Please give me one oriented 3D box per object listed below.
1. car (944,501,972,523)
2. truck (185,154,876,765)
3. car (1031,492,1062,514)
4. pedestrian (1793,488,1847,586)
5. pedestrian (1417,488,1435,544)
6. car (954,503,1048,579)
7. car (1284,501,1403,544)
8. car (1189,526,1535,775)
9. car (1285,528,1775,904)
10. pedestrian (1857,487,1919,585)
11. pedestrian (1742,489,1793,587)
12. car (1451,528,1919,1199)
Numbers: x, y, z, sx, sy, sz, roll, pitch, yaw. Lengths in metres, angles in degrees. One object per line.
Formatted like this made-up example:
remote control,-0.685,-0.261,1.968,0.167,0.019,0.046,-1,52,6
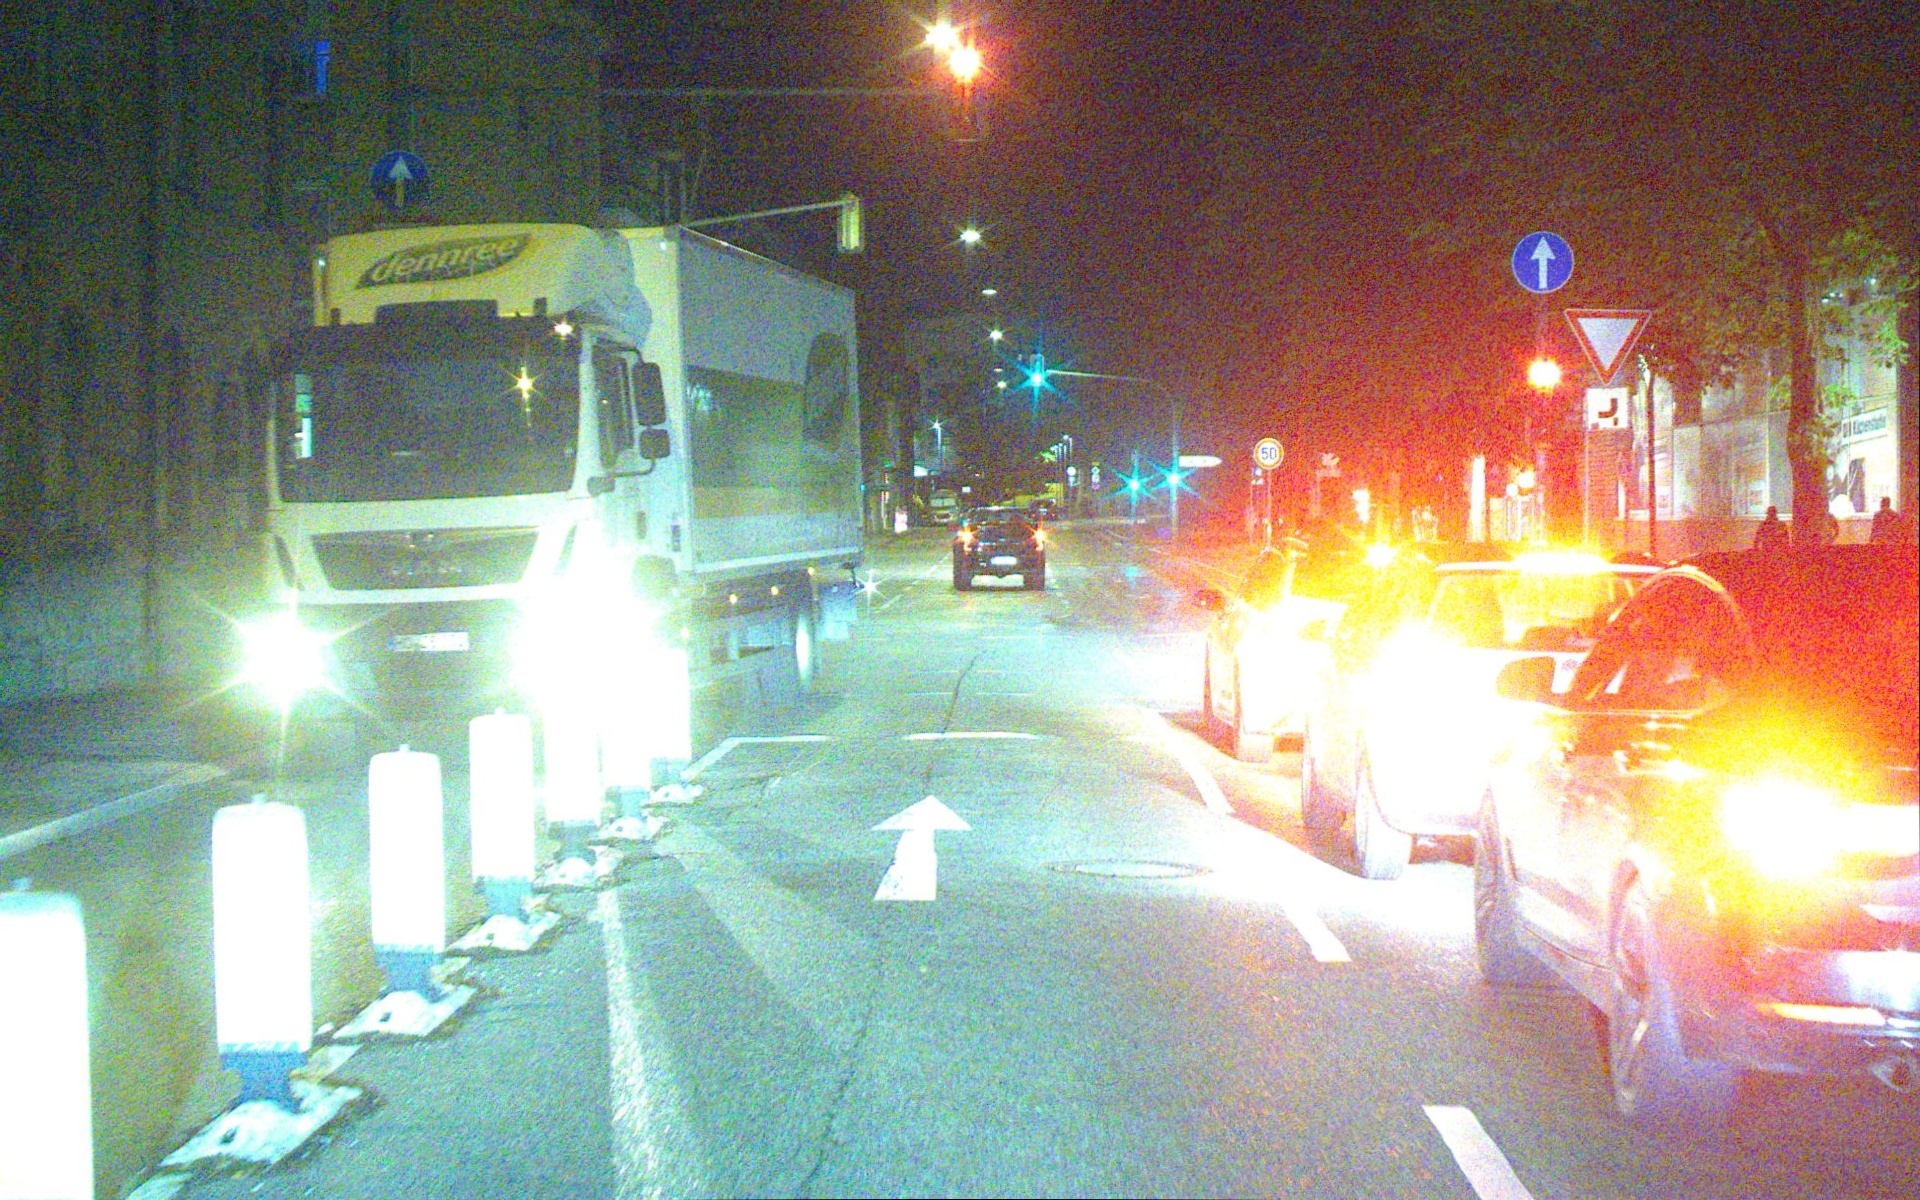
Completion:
car,-0.159,-5.912,231.124,1.777,1.385,4.001,-1,2,-1
truck,-2.801,-0.993,26.357,2.756,3.705,10.111,-1,1,7
car,6.147,-6.919,245.613,1.993,1.590,4.001,0,1,-2
pedestrian,15.695,-1.152,62.759,0.739,1.763,0.907,-1,1,1
pedestrian,16.611,-2.993,122.483,0.531,2.007,0.670,-1,1,0
car,0.881,-1.327,76.396,1.993,1.634,4.000,0,1,-1
car,13.167,-2.675,118.221,3.987,1.381,1.771,-1,2,4
car,2.556,0.259,22.760,1.729,1.430,4.211,1,1,0
car,2.533,0.434,16.159,1.637,1.489,4.000,1,1,1
pedestrian,16.914,-1.165,62.635,0.901,1.763,0.907,-1,1,1
pedestrian,14.768,-1.133,62.889,0.714,1.763,0.907,-1,1,1
car,2.599,0.570,9.776,1.805,1.489,4.729,2,1,2
